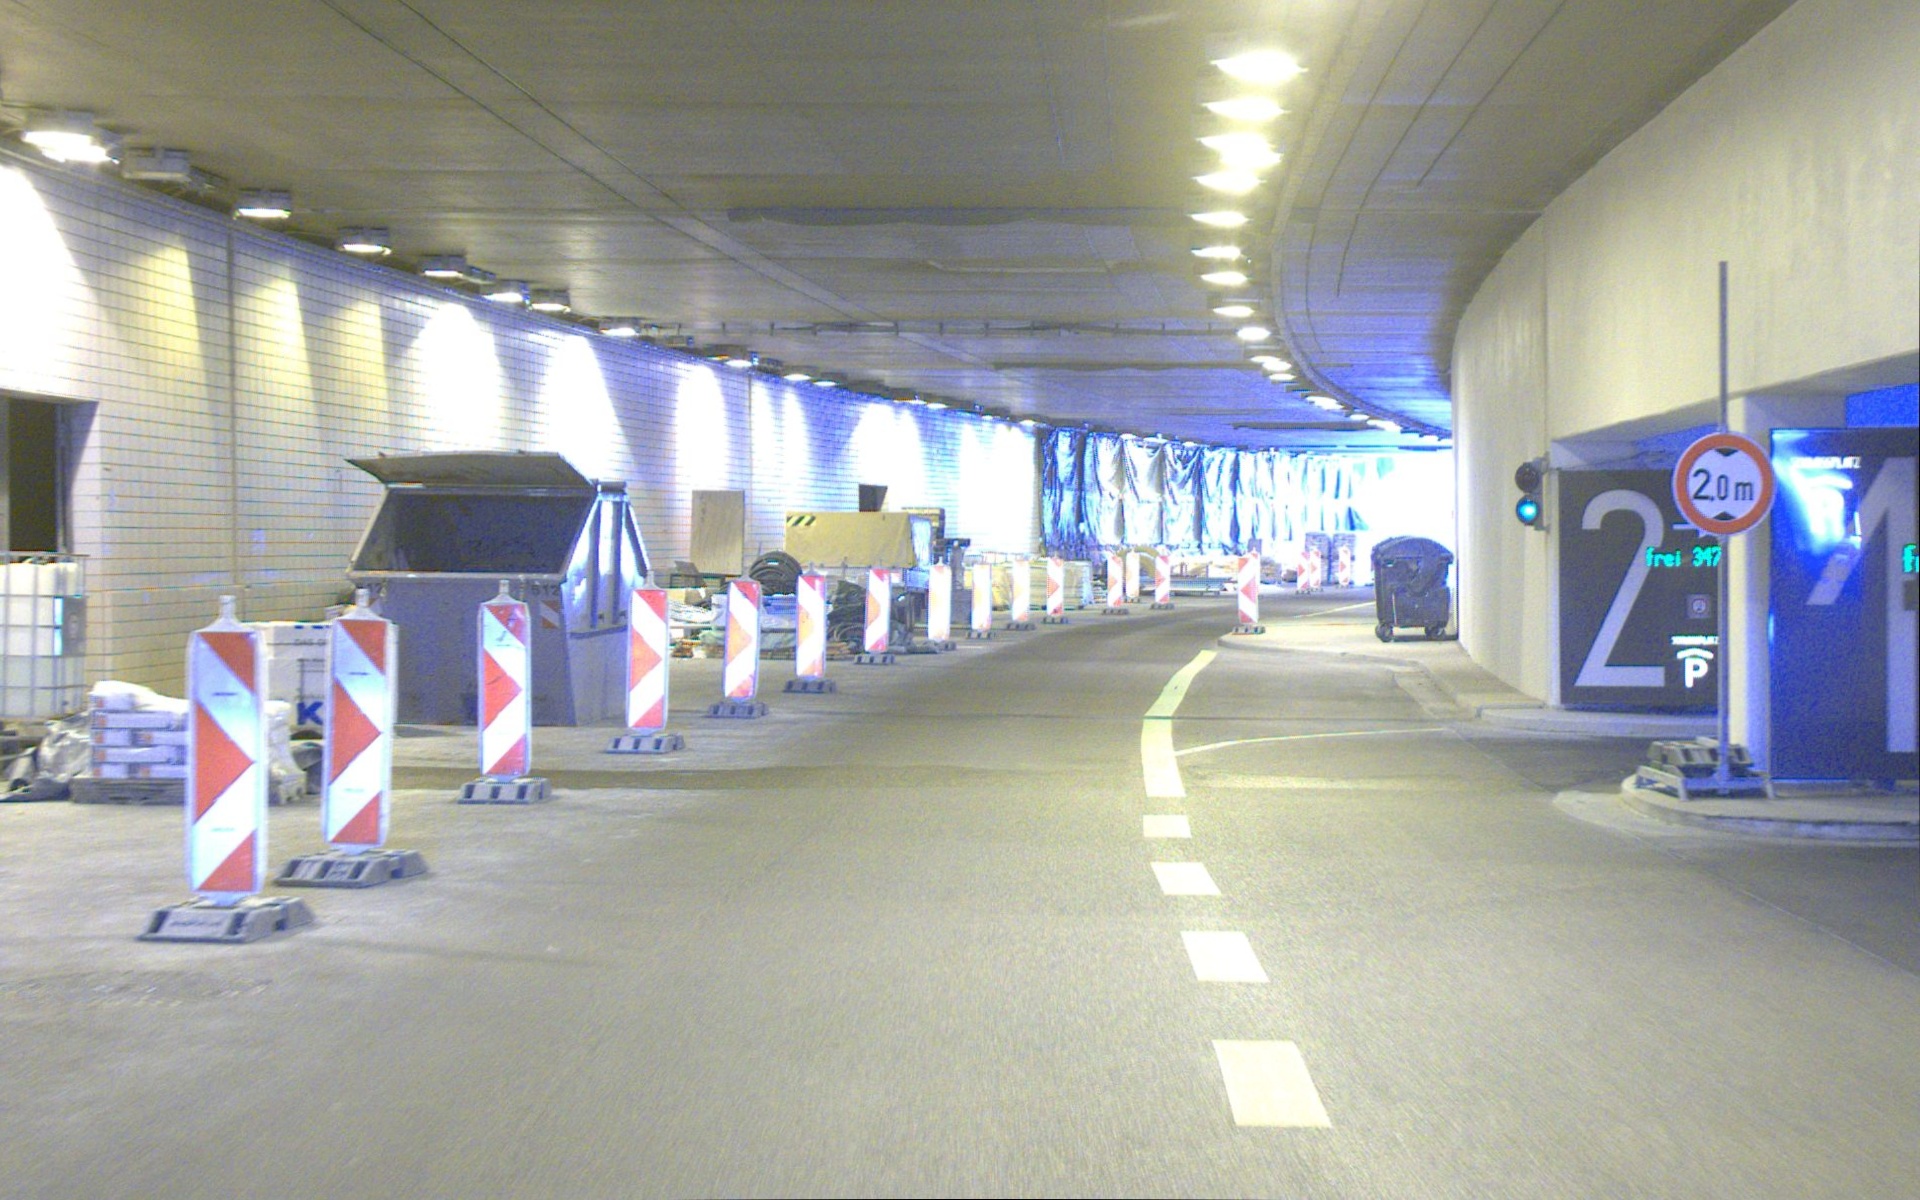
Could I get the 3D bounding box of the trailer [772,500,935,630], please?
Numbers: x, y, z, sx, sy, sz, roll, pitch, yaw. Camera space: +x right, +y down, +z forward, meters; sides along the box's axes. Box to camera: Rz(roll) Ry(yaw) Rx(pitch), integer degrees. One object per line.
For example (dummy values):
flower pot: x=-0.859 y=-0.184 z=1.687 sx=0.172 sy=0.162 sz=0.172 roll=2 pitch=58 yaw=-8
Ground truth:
trailer: x=-1.681 y=-0.567 z=55.612 sx=2.208 sy=2.007 sz=3.465 roll=1 pitch=1 yaw=5

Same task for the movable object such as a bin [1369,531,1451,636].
movable object such as a bin: x=6.322 y=-0.234 z=48.385 sx=1.098 sy=1.440 sz=1.322 roll=1 pitch=0 yaw=7

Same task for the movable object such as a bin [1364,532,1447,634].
movable object such as a bin: x=6.441 y=-0.246 z=49.783 sx=1.146 sy=1.440 sz=1.363 roll=1 pitch=0 yaw=7
